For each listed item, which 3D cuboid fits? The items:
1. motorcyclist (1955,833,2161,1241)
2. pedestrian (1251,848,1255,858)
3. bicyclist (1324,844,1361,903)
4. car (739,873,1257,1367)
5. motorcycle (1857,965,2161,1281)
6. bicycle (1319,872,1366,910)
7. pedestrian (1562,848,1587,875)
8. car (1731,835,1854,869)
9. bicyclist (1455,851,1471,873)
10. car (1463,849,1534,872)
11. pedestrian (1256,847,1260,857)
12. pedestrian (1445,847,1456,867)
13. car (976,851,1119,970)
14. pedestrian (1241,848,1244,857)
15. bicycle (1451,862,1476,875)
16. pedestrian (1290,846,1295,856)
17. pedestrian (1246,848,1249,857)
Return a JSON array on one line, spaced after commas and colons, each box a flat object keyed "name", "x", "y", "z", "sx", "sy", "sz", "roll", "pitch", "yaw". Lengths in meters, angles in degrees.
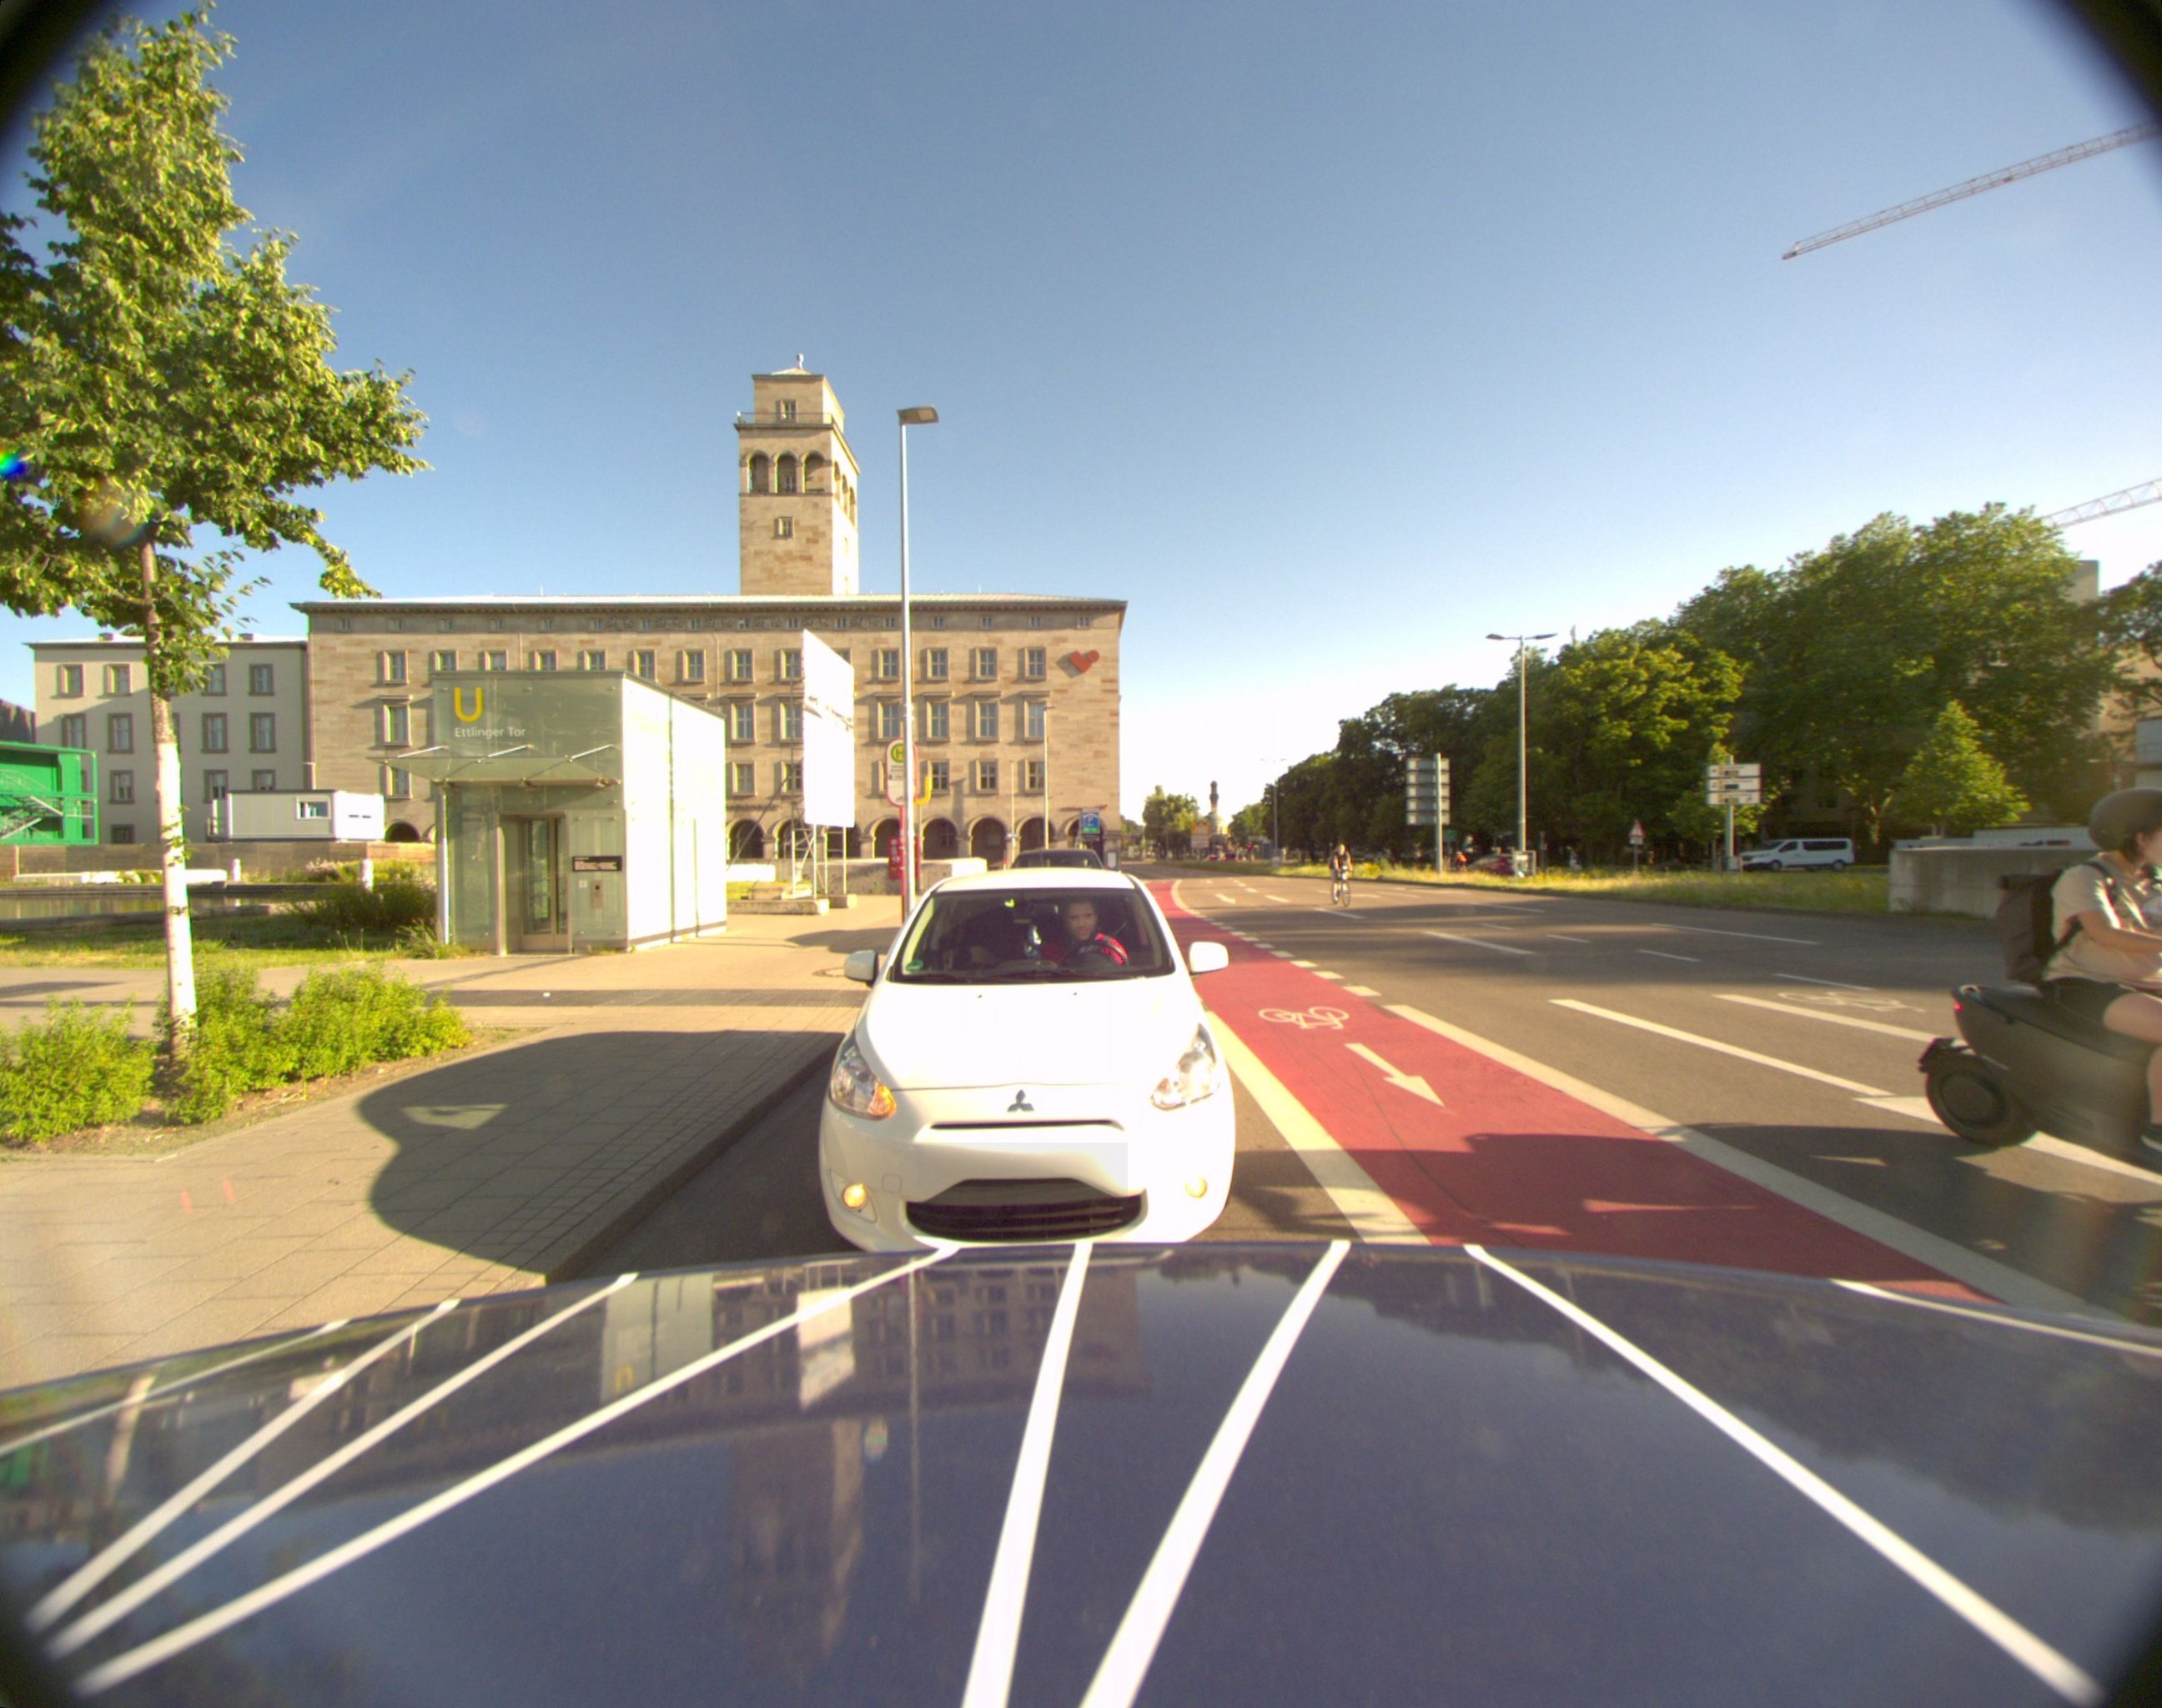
[{"name": "motorcyclist", "x": 4.311, "y": 0.659, "z": 2.976, "sx": 0.756, "sy": 1.475, "sz": 0.882, "roll": -1, "pitch": 1, "yaw": 5}, {"name": "pedestrian", "x": 34.593, "y": -0.289, "z": 152.796, "sx": 0.525, "sy": 2.002, "sz": 0.594, "roll": -1, "pitch": 1, "yaw": -2}, {"name": "bicyclist", "x": 6.871, "y": 0.492, "z": 19.989, "sx": 0.624, "sy": 1.494, "sz": 0.938, "roll": -2, "pitch": 1, "yaw": 2}, {"name": "car", "x": -0.249, "y": 0.944, "z": 4.515, "sx": 1.660, "sy": 1.463, "sz": 3.969, "roll": -3, "pitch": 0, "yaw": 1}, {"name": "motorcycle", "x": 4.311, "y": 1.060, "z": 2.921, "sx": 0.756, "sy": 0.963, "sz": 1.960, "roll": -1, "pitch": 0, "yaw": 5}, {"name": "bicycle", "x": 6.881, "y": 0.949, "z": 20.062, "sx": 0.624, "sy": 0.903, "sz": 1.910, "roll": -2, "pitch": 0, "yaw": 2}, {"name": "pedestrian", "x": 33.254, "y": 0.499, "z": 51.206, "sx": 0.997, "sy": 1.773, "sz": 0.964, "roll": -2, "pitch": 1, "yaw": 1}, {"name": "car", "x": 42.104, "y": -0.124, "z": 45.048, "sx": 5.325, "sy": 1.880, "sz": 2.000, "roll": -1, "pitch": 0, "yaw": 2}, {"name": "bicyclist", "x": 24.223, "y": 0.486, "z": 48.137, "sx": 0.617, "sy": 1.359, "sz": 0.768, "roll": -1, "pitch": 1, "yaw": 1}, {"name": "car", "x": 22.081, "y": 0.300, "z": 40.358, "sx": 1.618, "sy": 1.126, "sz": 3.770, "roll": -2, "pitch": 0, "yaw": -1}, {"name": "pedestrian", "x": 35.553, "y": -0.326, "z": 152.765, "sx": 0.525, "sy": 2.002, "sz": 0.594, "roll": -1, "pitch": 1, "yaw": -2}, {"name": "pedestrian", "x": 31.962, "y": 0.258, "z": 65.734, "sx": 0.664, "sy": 1.716, "sz": 0.698, "roll": -1, "pitch": 1, "yaw": 0}, {"name": "car", "x": -0.485, "y": 0.787, "z": 13.138, "sx": 1.999, "sy": 1.652, "sz": 4.791, "roll": -1, "pitch": 0, "yaw": 0}, {"name": "pedestrian", "x": 33.451, "y": -0.270, "z": 157.159, "sx": 0.525, "sy": 1.955, "sz": 0.594, "roll": -1, "pitch": 1, "yaw": -2}, {"name": "bicycle", "x": 24.229, "y": 0.926, "z": 48.148, "sx": 0.617, "sy": 0.800, "sz": 1.980, "roll": -1, "pitch": 0, "yaw": 1}, {"name": "pedestrian", "x": 40.169, "y": -0.585, "z": 144.192, "sx": 0.697, "sy": 2.002, "sz": 0.695, "roll": -1, "pitch": 1, "yaw": -16}, {"name": "pedestrian", "x": 34.391, "y": -0.329, "z": 157.084, "sx": 0.525, "sy": 2.002, "sz": 0.594, "roll": -1, "pitch": 1, "yaw": -2}]
